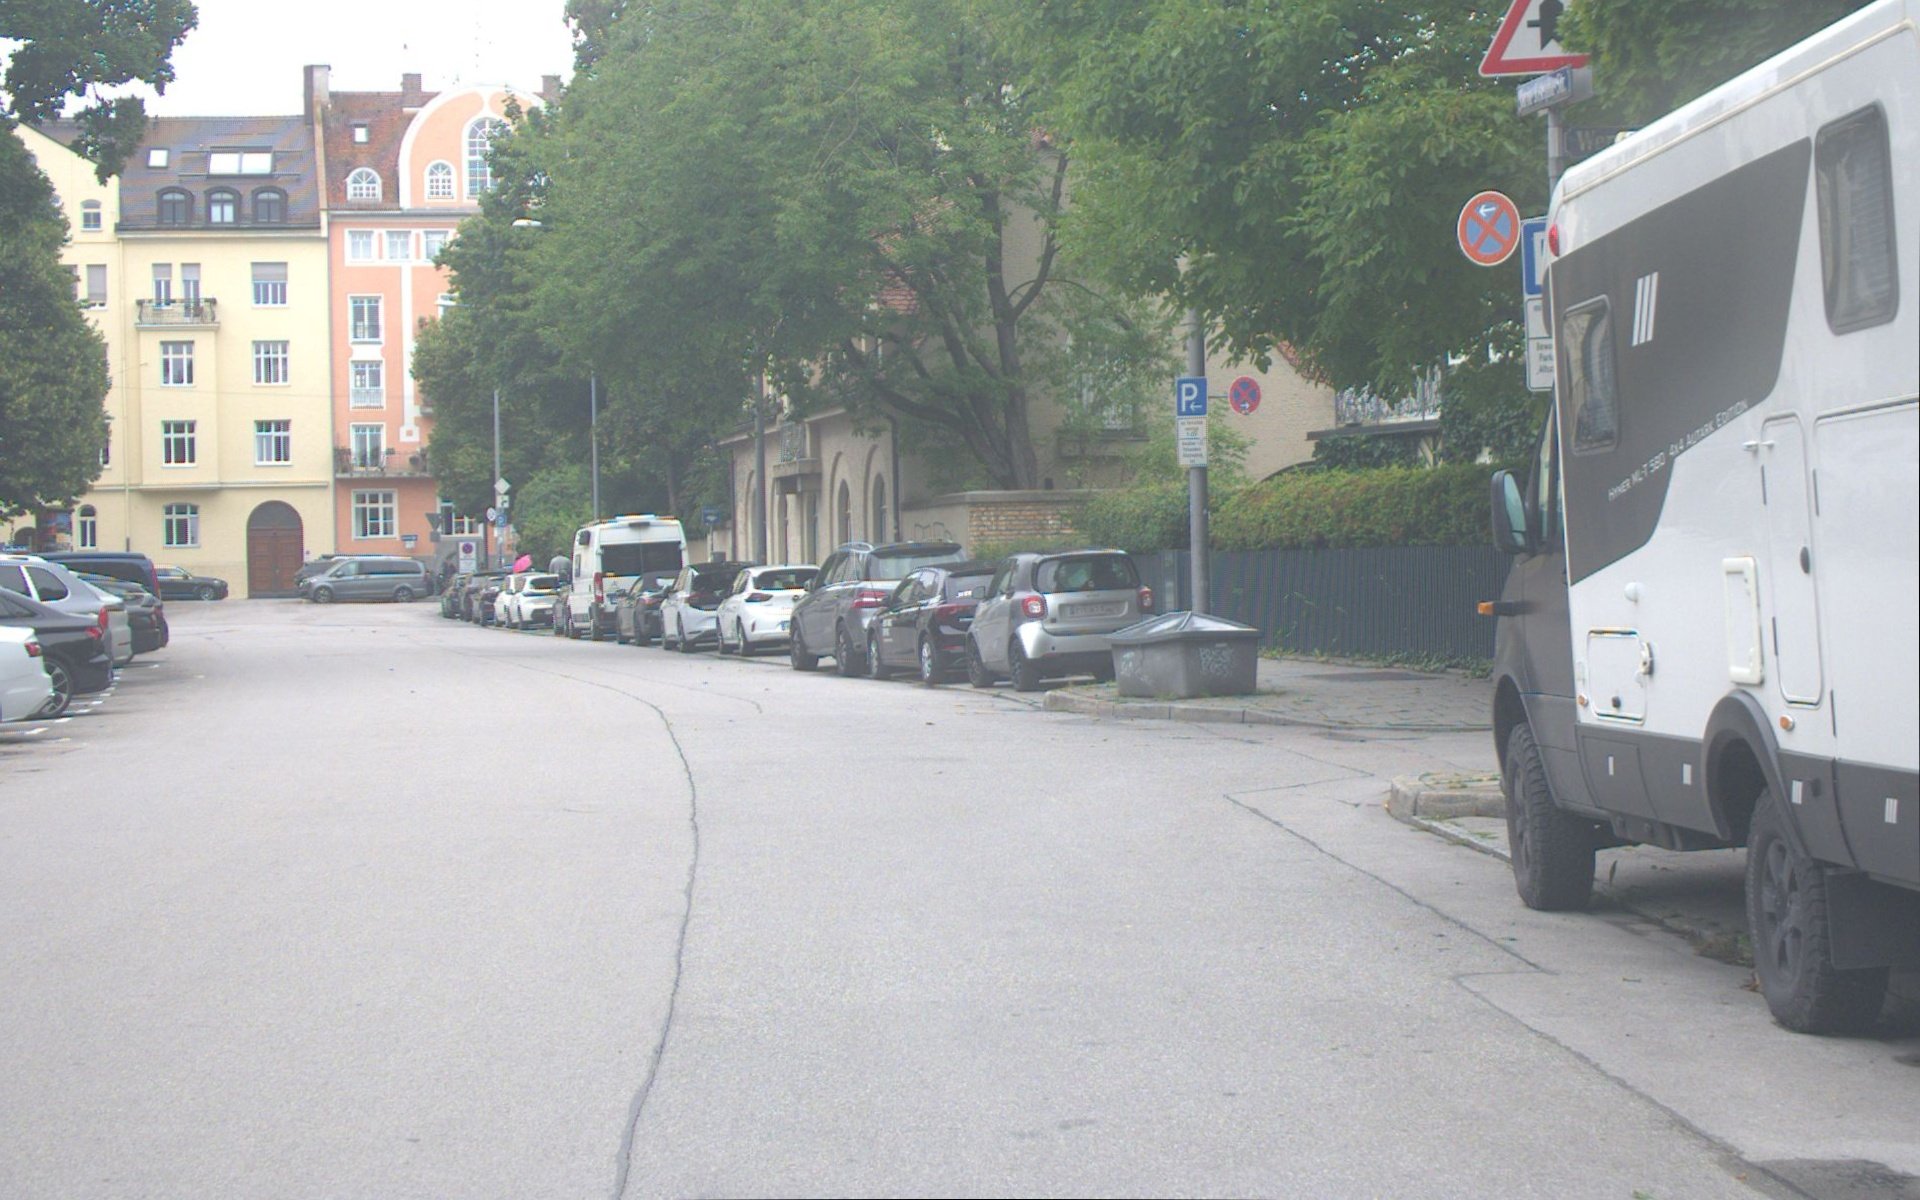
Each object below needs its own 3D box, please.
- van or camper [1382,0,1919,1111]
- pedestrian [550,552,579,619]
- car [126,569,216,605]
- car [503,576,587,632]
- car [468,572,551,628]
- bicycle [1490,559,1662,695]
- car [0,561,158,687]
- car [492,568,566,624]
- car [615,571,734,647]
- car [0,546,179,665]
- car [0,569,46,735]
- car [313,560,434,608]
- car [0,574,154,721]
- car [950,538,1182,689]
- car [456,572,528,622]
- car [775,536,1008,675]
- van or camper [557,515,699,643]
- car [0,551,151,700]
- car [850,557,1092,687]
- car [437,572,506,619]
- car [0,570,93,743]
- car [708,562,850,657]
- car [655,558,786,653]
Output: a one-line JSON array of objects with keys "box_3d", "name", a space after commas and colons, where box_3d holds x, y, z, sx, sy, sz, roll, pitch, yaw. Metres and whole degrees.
[{"box_3d": [3.303, -0.234, 11.989, 2.272, 2.896, 7.278, -1, 1, -4], "name": "van or camper"}, {"box_3d": [-11.865, -0.440, 103.159, 0.772, 2.007, 0.563, -1, 0, -14], "name": "pedestrian"}, {"box_3d": [-36.705, -0.616, 159.927, 3.986, 1.581, 1.704, -1, 0, -11], "name": "car"}, {"box_3d": [-11.068, 0.091, 91.443, 1.707, 1.403, 4.131, -3, 1, -13], "name": "car"}, {"box_3d": [-13.191, -0.020, 100.435, 1.802, 1.461, 3.839, -3, 2, -16], "name": "car"}, {"box_3d": [5.502, 0.220, 30.829, 0.806, 1.158, 1.974, -1, 1, -12], "name": "bicycle"}, {"box_3d": [-13.323, 0.353, 46.383, 4.398, 1.615, 2.086, -2, 0, -33], "name": "car"}, {"box_3d": [-12.092, -0.120, 96.278, 1.707, 1.461, 3.838, -3, 1, -11], "name": "car"}, {"box_3d": [-5.584, 0.157, 66.812, 1.707, 1.364, 4.442, -3, 1, -12], "name": "car"}, {"box_3d": [-16.972, 0.111, 64.316, 4.206, 2.059, 1.736, -3, 1, -41], "name": "car"}, {"box_3d": [-10.902, 0.614, 31.331, 4.503, 1.504, 1.931, -4, 2, -36], "name": "car"}, {"box_3d": [-23.815, -0.648, 139.644, 4.702, 1.874, 1.841, -1, 0, -14], "name": "car"}, {"box_3d": [-10.590, 0.519, 34.609, 4.400, 1.434, 1.965, -2, 0, -43], "name": "car"}, {"box_3d": [1.136, 0.148, 38.267, 1.738, 1.531, 2.947, -3, 0, -15], "name": "car"}, {"box_3d": [-14.420, -0.103, 105.735, 1.669, 1.339, 3.839, -3, 2, -15], "name": "car"}, {"box_3d": [-1.009, 0.050, 46.792, 1.993, 1.705, 4.886, -3, 1, -15], "name": "car"}, {"box_3d": [-7.157, -0.455, 73.495, 2.191, 2.541, 5.730, -3, 1, -13], "name": "van or camper"}, {"box_3d": [-11.968, 0.331, 40.125, 4.401, 1.693, 2.135, -2, 0, -44], "name": "car"}, {"box_3d": [0.073, 0.238, 42.275, 1.876, 1.422, 4.223, -3, 1, -15], "name": "car"}, {"box_3d": [-15.714, -0.157, 110.494, 1.669, 1.339, 3.839, -3, 2, -15], "name": "car"}, {"box_3d": [-9.888, 0.545, 29.140, 4.503, 1.446, 1.896, -2, 1, -36], "name": "car"}, {"box_3d": [-2.989, 0.145, 56.181, 1.685, 1.436, 4.001, -2, 0, -12], "name": "car"}, {"box_3d": [-4.298, 0.078, 61.160, 1.707, 1.532, 4.241, -3, 1, -12], "name": "car"}]
